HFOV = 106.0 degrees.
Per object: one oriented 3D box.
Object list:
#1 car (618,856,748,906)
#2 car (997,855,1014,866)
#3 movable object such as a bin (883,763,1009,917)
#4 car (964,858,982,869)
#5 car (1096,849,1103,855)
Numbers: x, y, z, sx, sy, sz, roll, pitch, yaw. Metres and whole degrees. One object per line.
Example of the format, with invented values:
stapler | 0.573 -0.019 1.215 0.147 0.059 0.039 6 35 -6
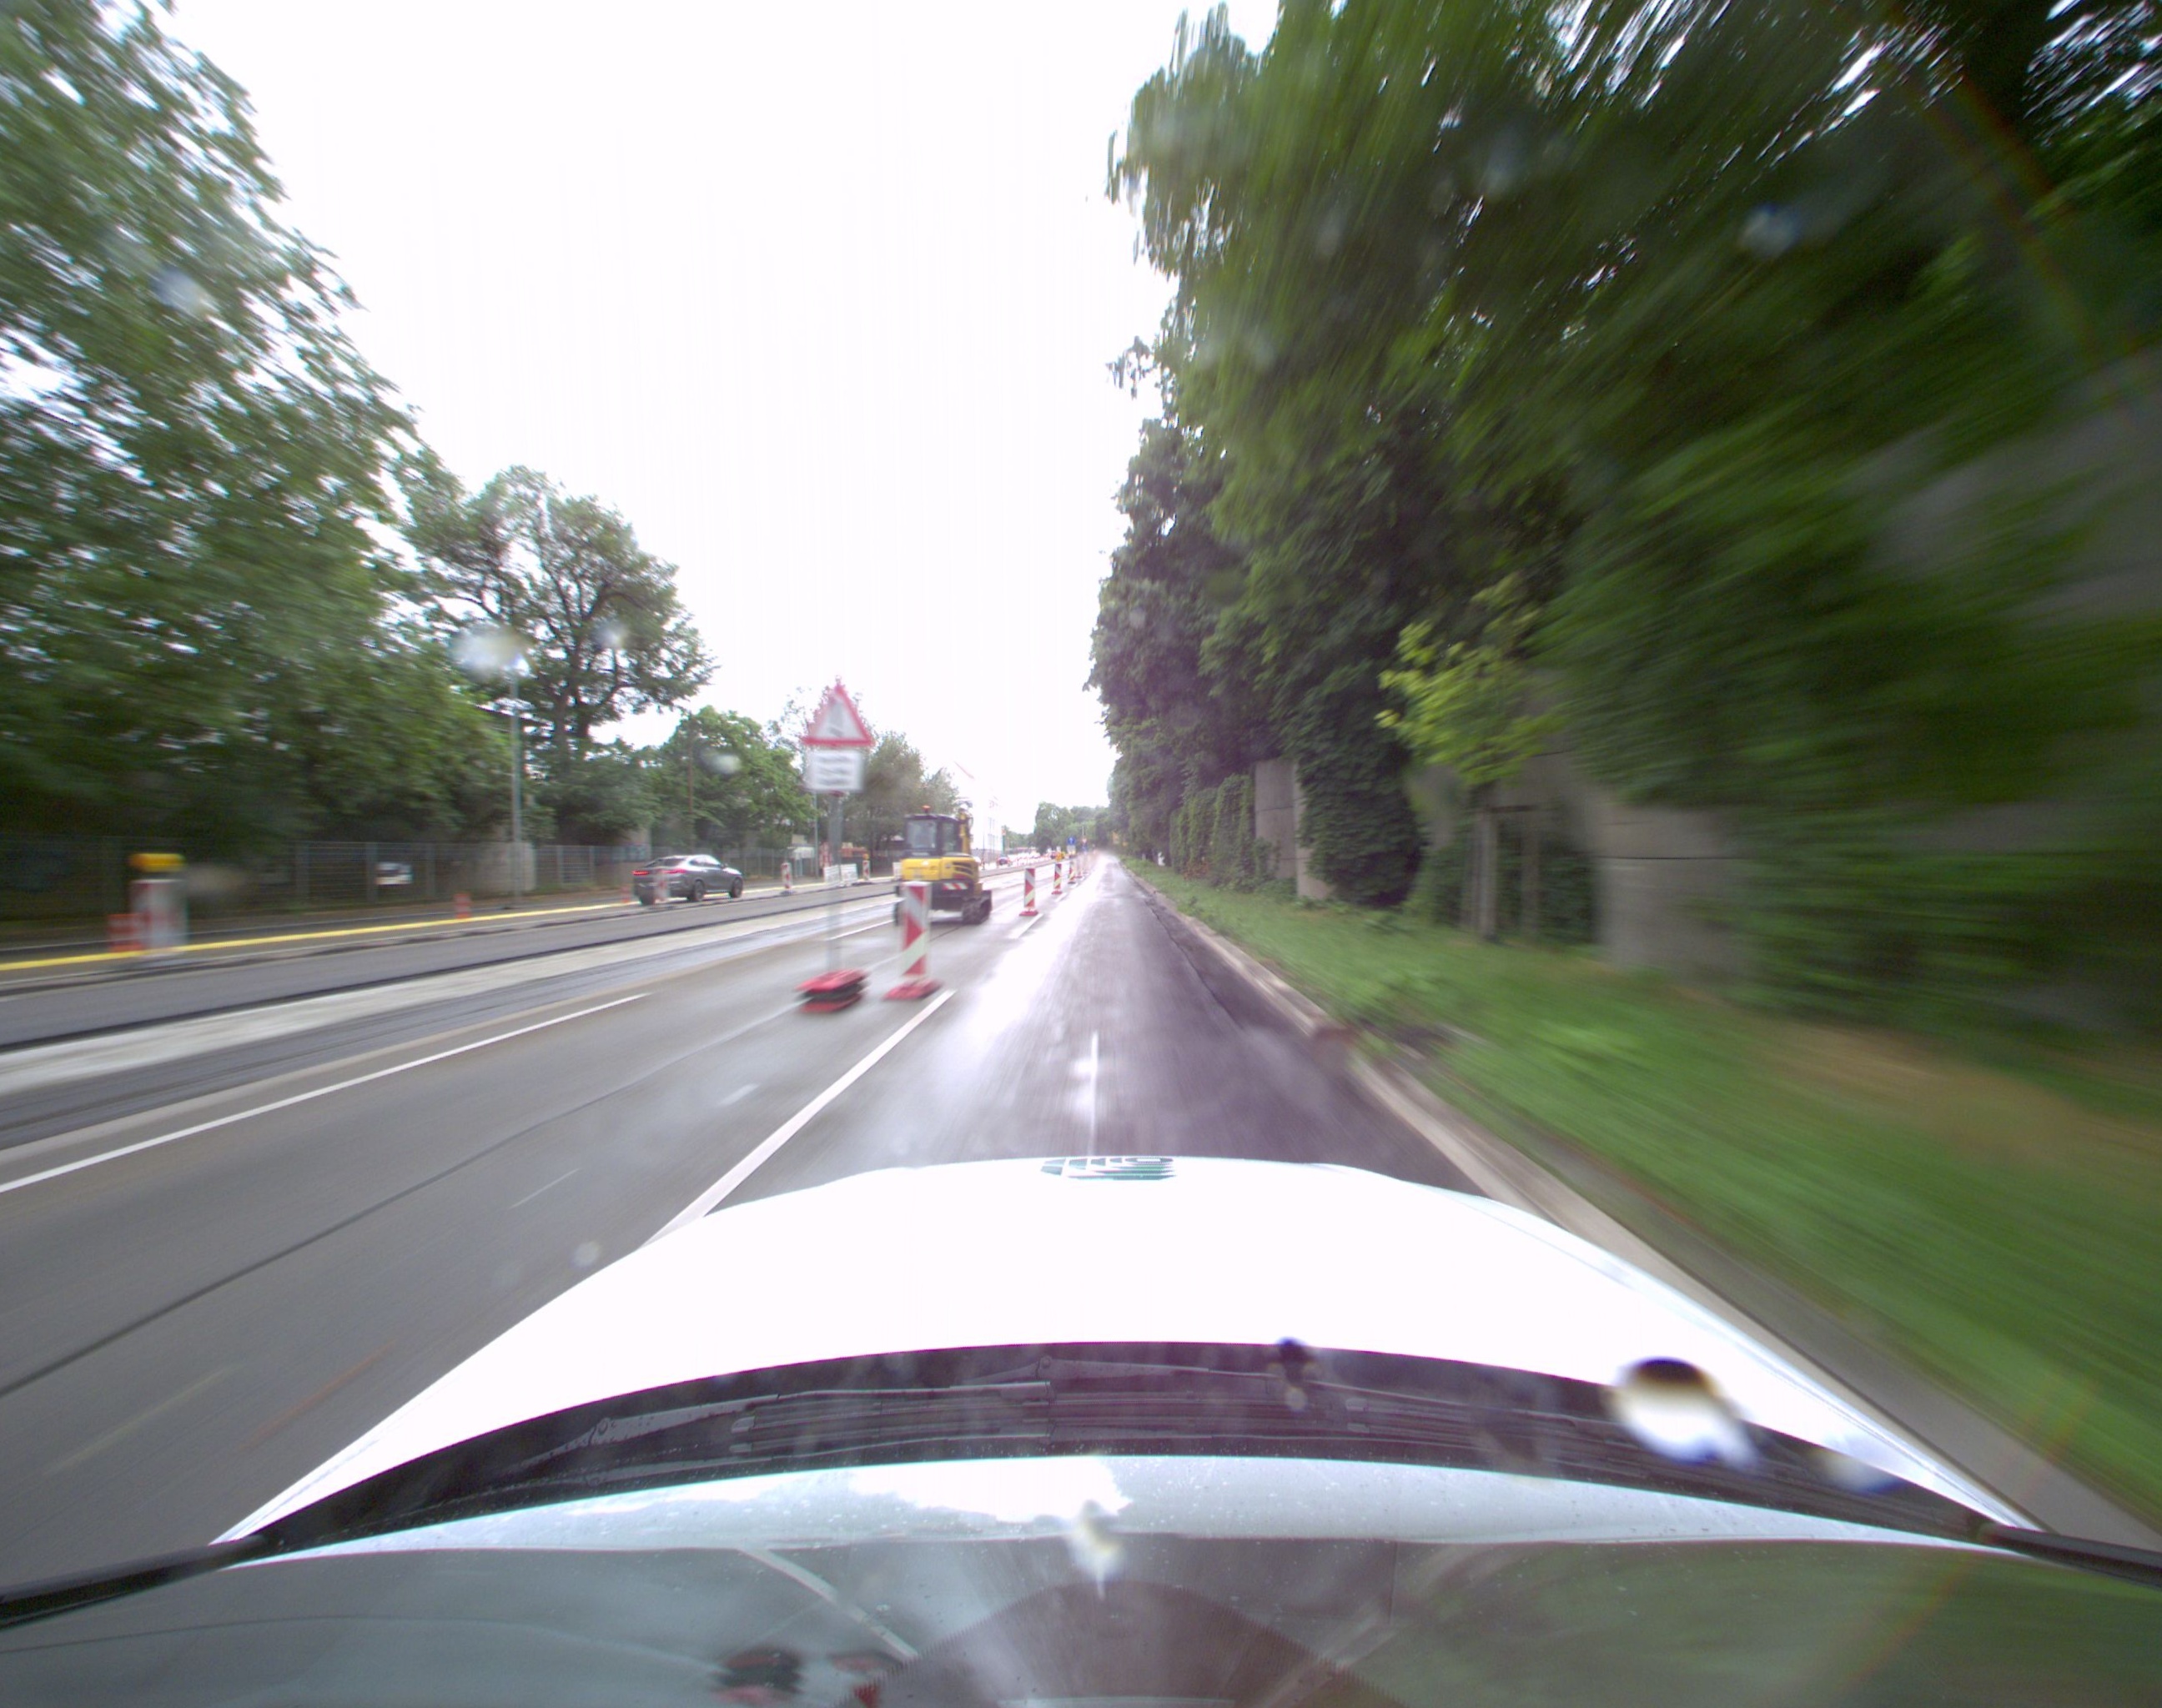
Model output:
car | -14.112 0.900 29.299 2.069 1.613 5.057 -1 0 1
car | -10.858 0.969 117.275 1.986 1.519 4.001 -1 0 2
movable object such as a bin | -3.228 -0.282 20.868 1.986 3.367 5.985 -1 0 2
car | -16.782 1.430 126.709 1.986 1.586 4.621 -1 0 2
car | 5.166 -0.595 229.662 1.986 1.673 4.002 -1 0 2
